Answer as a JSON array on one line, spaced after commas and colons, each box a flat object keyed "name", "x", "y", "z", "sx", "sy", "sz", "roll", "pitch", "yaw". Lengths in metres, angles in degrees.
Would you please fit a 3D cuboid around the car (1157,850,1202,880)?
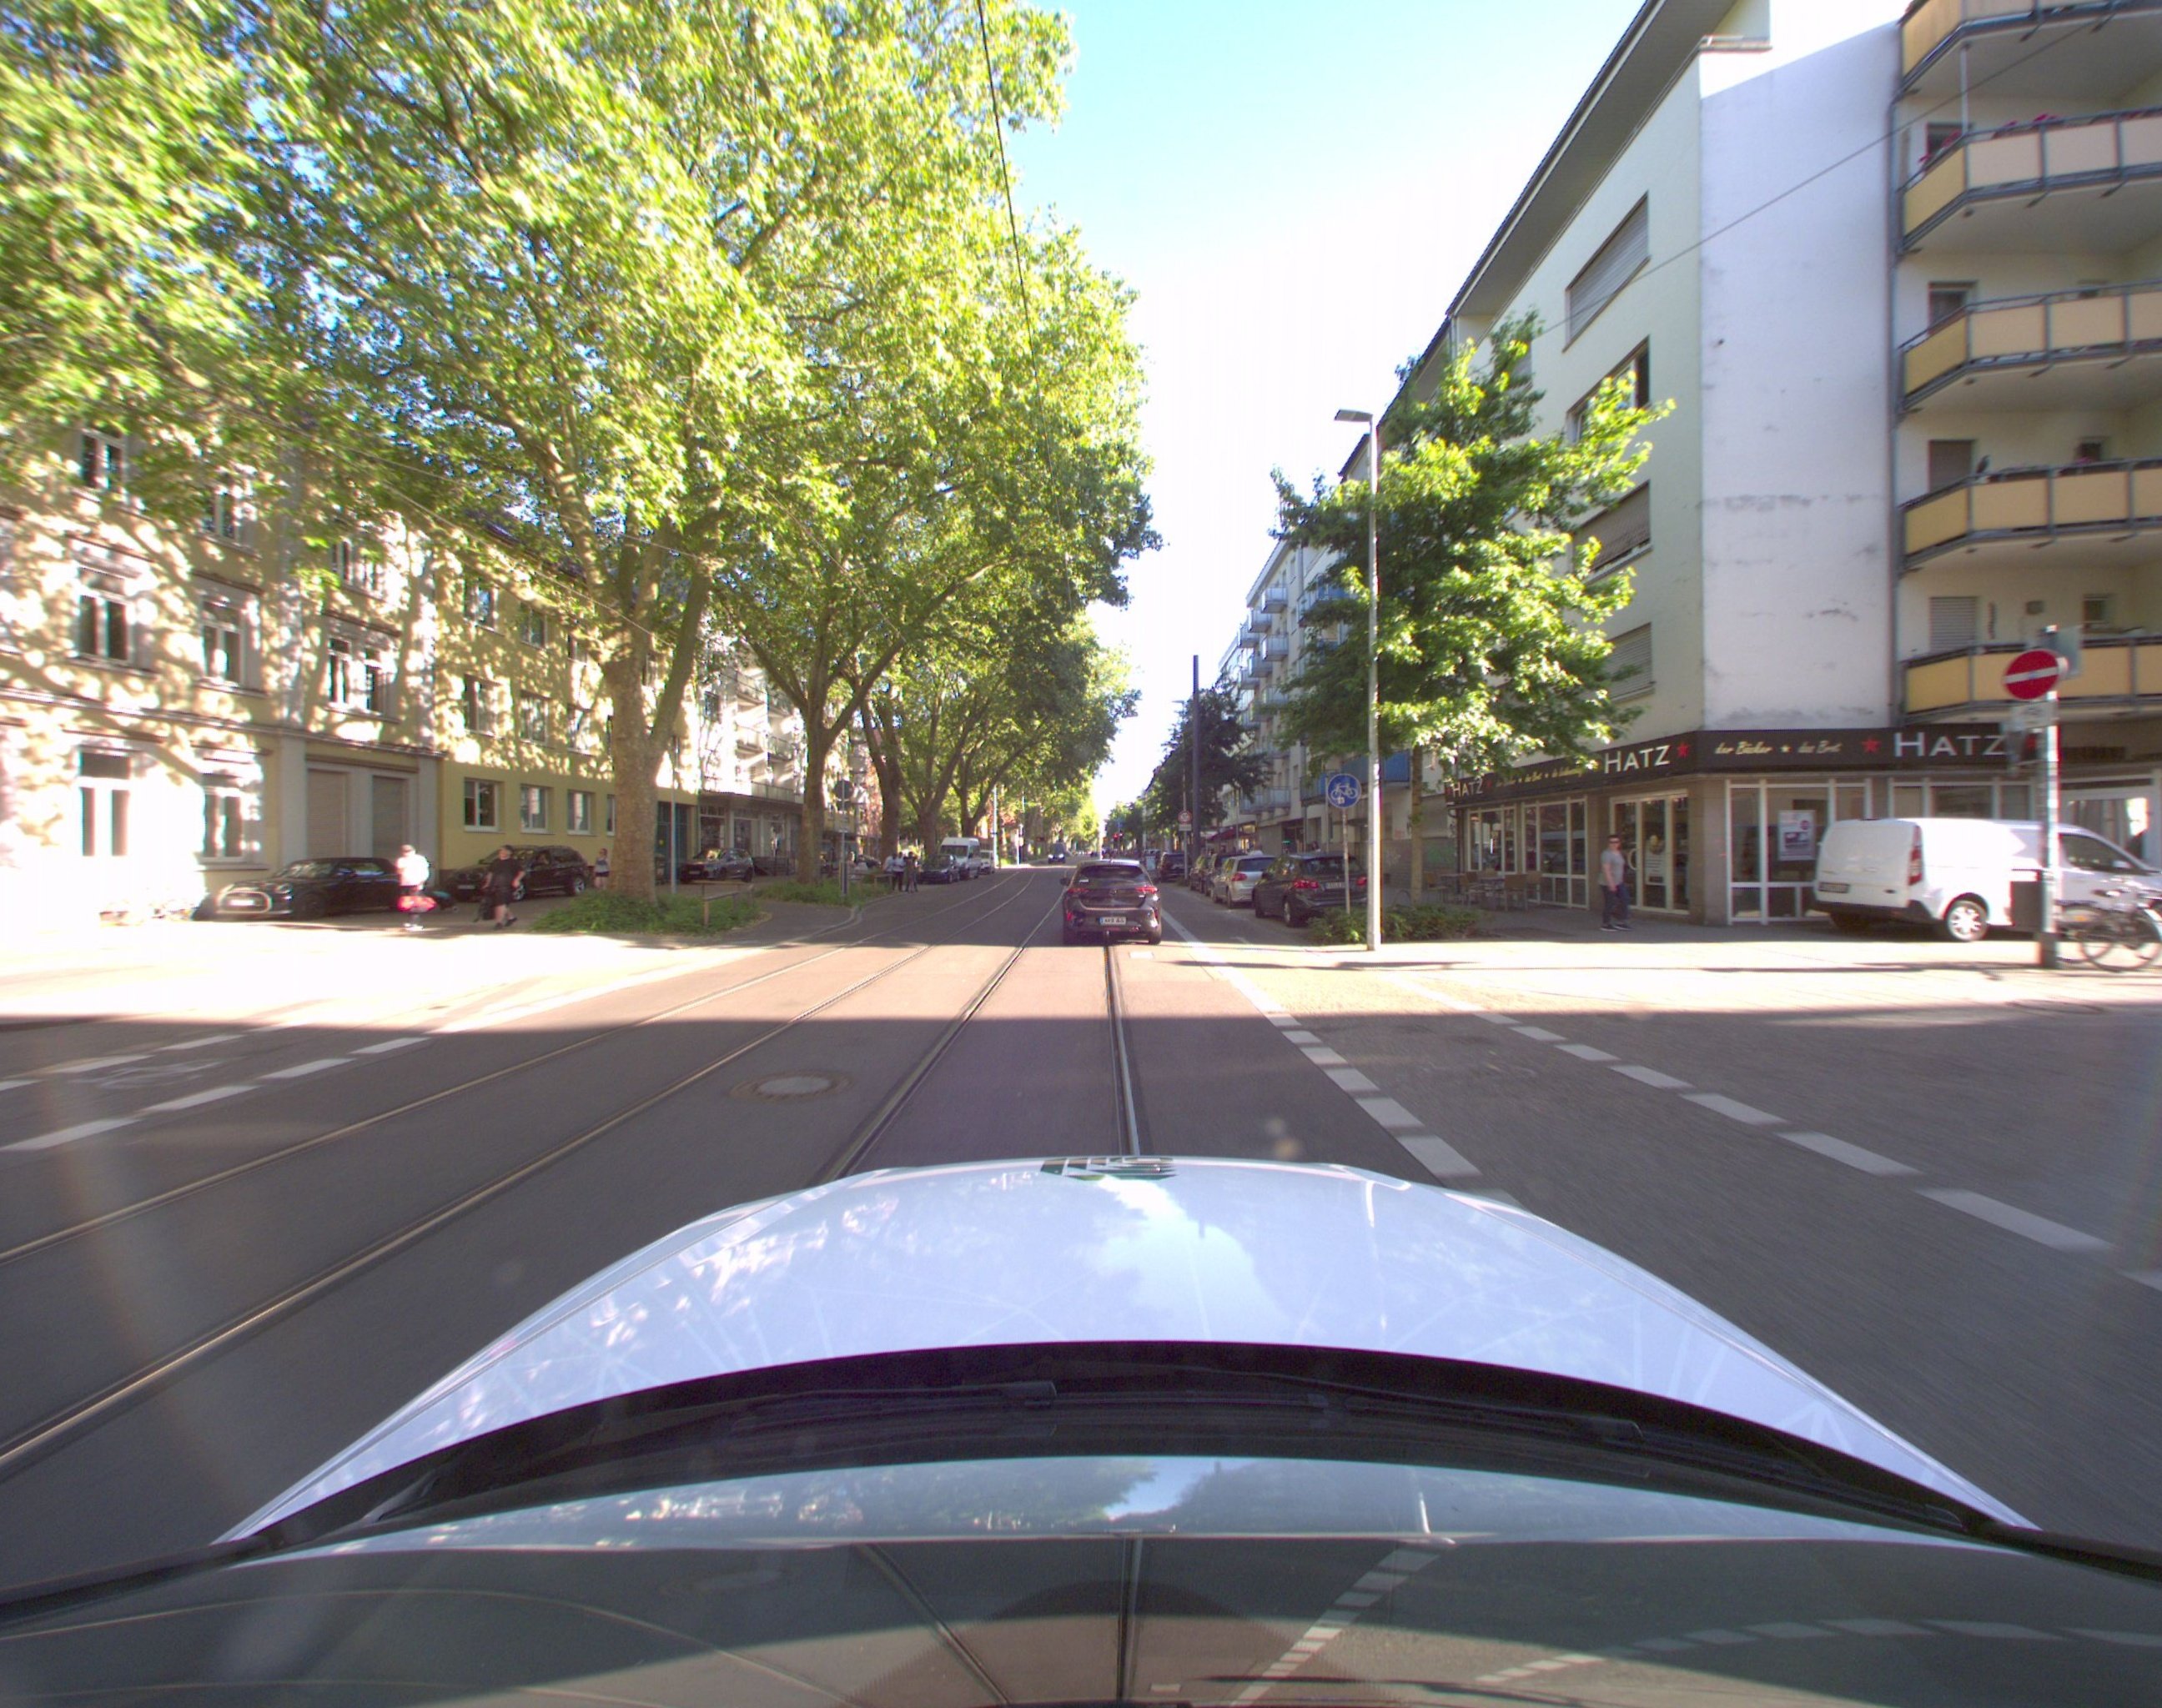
[{"name": "car", "x": 5.139, "y": 0.536, "z": 42.861, "sx": 1.986, "sy": 1.508, "sz": 4.001, "roll": -1, "pitch": 0, "yaw": 1}]

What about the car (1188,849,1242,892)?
[{"name": "car", "x": 5.220, "y": 0.608, "z": 32.152, "sx": 1.711, "sy": 1.574, "sz": 3.685, "roll": -1, "pitch": 0, "yaw": 3}]

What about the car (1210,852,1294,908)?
[{"name": "car", "x": 4.959, "y": 0.712, "z": 24.104, "sx": 1.713, "sy": 1.490, "sz": 3.681, "roll": -1, "pitch": 0, "yaw": 0}]

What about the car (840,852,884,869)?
[{"name": "car", "x": -22.152, "y": 0.634, "z": 82.535, "sx": 3.981, "sy": 1.706, "sz": 1.996, "roll": -1, "pitch": 0, "yaw": -6}]

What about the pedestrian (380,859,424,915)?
[{"name": "pedestrian", "x": -17.356, "y": 0.840, "z": 20.828, "sx": 0.549, "sy": 1.403, "sz": 0.650, "roll": -1, "pitch": 0, "yaw": 5}]

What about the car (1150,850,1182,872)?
[{"name": "car", "x": 6.705, "y": 0.521, "z": 63.930, "sx": 1.980, "sy": 1.640, "sz": 4.014, "roll": -1, "pitch": 0, "yaw": 12}]

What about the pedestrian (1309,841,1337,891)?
[{"name": "pedestrian", "x": 8.626, "y": 0.415, "z": 29.019, "sx": 0.789, "sy": 1.748, "sz": 0.771, "roll": -1, "pitch": 0, "yaw": 3}]

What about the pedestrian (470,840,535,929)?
[{"name": "pedestrian", "x": -12.414, "y": 0.638, "z": 17.492, "sx": 0.903, "sy": 1.869, "sz": 0.643, "roll": -1, "pitch": 0, "yaw": -5}]

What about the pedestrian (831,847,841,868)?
[{"name": "pedestrian", "x": -18.659, "y": 0.286, "z": 62.069, "sx": 0.552, "sy": 1.583, "sz": 0.573, "roll": -1, "pitch": 0, "yaw": -3}]

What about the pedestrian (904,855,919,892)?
[{"name": "pedestrian", "x": -7.277, "y": 0.844, "z": 34.986, "sx": 0.505, "sy": 1.583, "sz": 0.527, "roll": -1, "pitch": 0, "yaw": 0}]

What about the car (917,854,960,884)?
[{"name": "car", "x": -7.760, "y": 0.778, "z": 44.649, "sx": 1.750, "sy": 1.508, "sz": 3.997, "roll": -1, "pitch": 0, "yaw": -2}]

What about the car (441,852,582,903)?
[{"name": "car", "x": -18.458, "y": 0.715, "z": 26.656, "sx": 1.675, "sy": 1.517, "sz": 4.002, "roll": 1, "pitch": 0, "yaw": 2}]

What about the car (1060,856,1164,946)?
[{"name": "car", "x": 0.533, "y": 0.773, "z": 15.073, "sx": 1.674, "sy": 1.422, "sz": 3.628, "roll": 1, "pitch": 0, "yaw": 1}]

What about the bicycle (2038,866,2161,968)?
[{"name": "bicycle", "x": 12.489, "y": 0.711, "z": 9.466, "sx": 1.827, "sy": 1.117, "sz": 0.704, "roll": -1, "pitch": 0, "yaw": 4}]

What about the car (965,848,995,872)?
[{"name": "car", "x": -7.505, "y": 0.426, "z": 60.701, "sx": 1.990, "sy": 1.717, "sz": 3.994, "roll": -1, "pitch": 0, "yaw": -4}]

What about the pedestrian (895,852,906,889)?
[{"name": "pedestrian", "x": -7.768, "y": 0.699, "z": 34.989, "sx": 0.345, "sy": 1.583, "sz": 0.508, "roll": -1, "pitch": 0, "yaw": -1}]

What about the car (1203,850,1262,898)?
[{"name": "car", "x": 5.192, "y": 0.646, "z": 28.223, "sx": 1.644, "sy": 1.574, "sz": 3.086, "roll": -1, "pitch": 0, "yaw": 3}]

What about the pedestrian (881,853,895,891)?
[{"name": "pedestrian", "x": -8.230, "y": 0.756, "z": 34.736, "sx": 0.505, "sy": 1.583, "sz": 0.526, "roll": -1, "pitch": 0, "yaw": -3}]

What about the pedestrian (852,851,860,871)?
[{"name": "pedestrian", "x": -18.139, "y": 0.588, "z": 65.687, "sx": 0.505, "sy": 1.583, "sz": 0.526, "roll": -1, "pitch": 0, "yaw": -2}]

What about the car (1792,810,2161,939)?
[{"name": "car", "x": 14.199, "y": 0.289, "z": 12.853, "sx": 4.348, "sy": 1.831, "sz": 1.998, "roll": -1, "pitch": 0, "yaw": -3}]

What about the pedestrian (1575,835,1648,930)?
[{"name": "pedestrian", "x": 9.391, "y": 0.478, "z": 14.427, "sx": 0.774, "sy": 1.616, "sz": 0.848, "roll": -1, "pitch": 0, "yaw": -36}]

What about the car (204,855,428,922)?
[{"name": "car", "x": -18.751, "y": 0.785, "z": 20.256, "sx": 1.675, "sy": 1.464, "sz": 4.002, "roll": -1, "pitch": 0, "yaw": 2}]

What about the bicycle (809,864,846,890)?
[{"name": "bicycle", "x": -10.883, "y": 0.973, "z": 34.950, "sx": 1.675, "sy": 1.062, "sz": 0.455, "roll": 1, "pitch": -1, "yaw": 31}]

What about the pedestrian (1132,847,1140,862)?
[{"name": "pedestrian", "x": 7.468, "y": 0.090, "z": 110.363, "sx": 0.853, "sy": 2.013, "sz": 1.070, "roll": -5, "pitch": -1, "yaw": 2}]

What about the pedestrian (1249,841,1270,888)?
[{"name": "pedestrian", "x": 6.349, "y": 0.384, "z": 29.003, "sx": 0.598, "sy": 1.651, "sz": 0.630, "roll": -1, "pitch": 0, "yaw": -2}]

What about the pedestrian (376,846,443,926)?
[{"name": "pedestrian", "x": -14.075, "y": 0.657, "z": 17.084, "sx": 0.845, "sy": 1.632, "sz": 0.643, "roll": -1, "pitch": 0, "yaw": -5}]

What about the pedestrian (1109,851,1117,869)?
[{"name": "pedestrian", "x": 2.937, "y": 0.569, "z": 74.152, "sx": 0.594, "sy": 1.590, "sz": 0.891, "roll": -1, "pitch": 0, "yaw": -6}]

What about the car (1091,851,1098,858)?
[{"name": "car", "x": 3.442, "y": 0.030, "z": 204.676, "sx": 1.743, "sy": 1.651, "sz": 4.003, "roll": -1, "pitch": 0, "yaw": 3}]

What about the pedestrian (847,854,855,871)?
[{"name": "pedestrian", "x": -18.749, "y": 0.686, "z": 66.306, "sx": 0.505, "sy": 1.333, "sz": 0.526, "roll": -1, "pitch": 0, "yaw": -2}]

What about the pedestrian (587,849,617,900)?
[{"name": "pedestrian", "x": -15.632, "y": 0.669, "z": 26.593, "sx": 0.549, "sy": 1.652, "sz": 0.650, "roll": -1, "pitch": 0, "yaw": 5}]

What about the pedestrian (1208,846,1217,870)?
[{"name": "pedestrian", "x": 9.400, "y": 0.287, "z": 58.226, "sx": 0.626, "sy": 1.732, "sz": 0.633, "roll": -1, "pitch": 0, "yaw": 6}]

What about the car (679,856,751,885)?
[{"name": "car", "x": -17.791, "y": 0.760, "z": 39.780, "sx": 1.689, "sy": 1.276, "sz": 3.829, "roll": -1, "pitch": 1, "yaw": 1}]

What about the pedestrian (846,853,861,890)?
[{"name": "pedestrian", "x": -9.844, "y": 0.754, "z": 35.231, "sx": 0.505, "sy": 1.583, "sz": 0.526, "roll": -1, "pitch": 0, "yaw": -2}]

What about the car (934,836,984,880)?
[{"name": "car", "x": -7.524, "y": 0.212, "z": 50.744, "sx": 2.085, "sy": 2.584, "sz": 5.998, "roll": -1, "pitch": 0, "yaw": 1}]

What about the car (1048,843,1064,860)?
[{"name": "car", "x": -3.308, "y": -0.326, "z": 106.874, "sx": 1.989, "sy": 2.211, "sz": 5.097, "roll": -1, "pitch": 0, "yaw": -3}]

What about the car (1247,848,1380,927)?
[{"name": "car", "x": 5.124, "y": 0.676, "z": 18.531, "sx": 1.714, "sy": 1.574, "sz": 4.081, "roll": -1, "pitch": 0, "yaw": -3}]

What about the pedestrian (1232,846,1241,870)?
[{"name": "pedestrian", "x": 11.432, "y": 0.273, "z": 59.990, "sx": 0.626, "sy": 1.732, "sz": 0.633, "roll": -1, "pitch": 0, "yaw": 7}]

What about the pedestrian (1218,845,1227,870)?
[{"name": "pedestrian", "x": 10.114, "y": 0.250, "z": 58.181, "sx": 0.626, "sy": 1.732, "sz": 0.633, "roll": -1, "pitch": 0, "yaw": 6}]

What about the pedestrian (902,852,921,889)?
[{"name": "pedestrian", "x": -7.430, "y": 0.724, "z": 35.667, "sx": 0.681, "sy": 1.583, "sz": 0.557, "roll": -1, "pitch": 0, "yaw": -1}]
